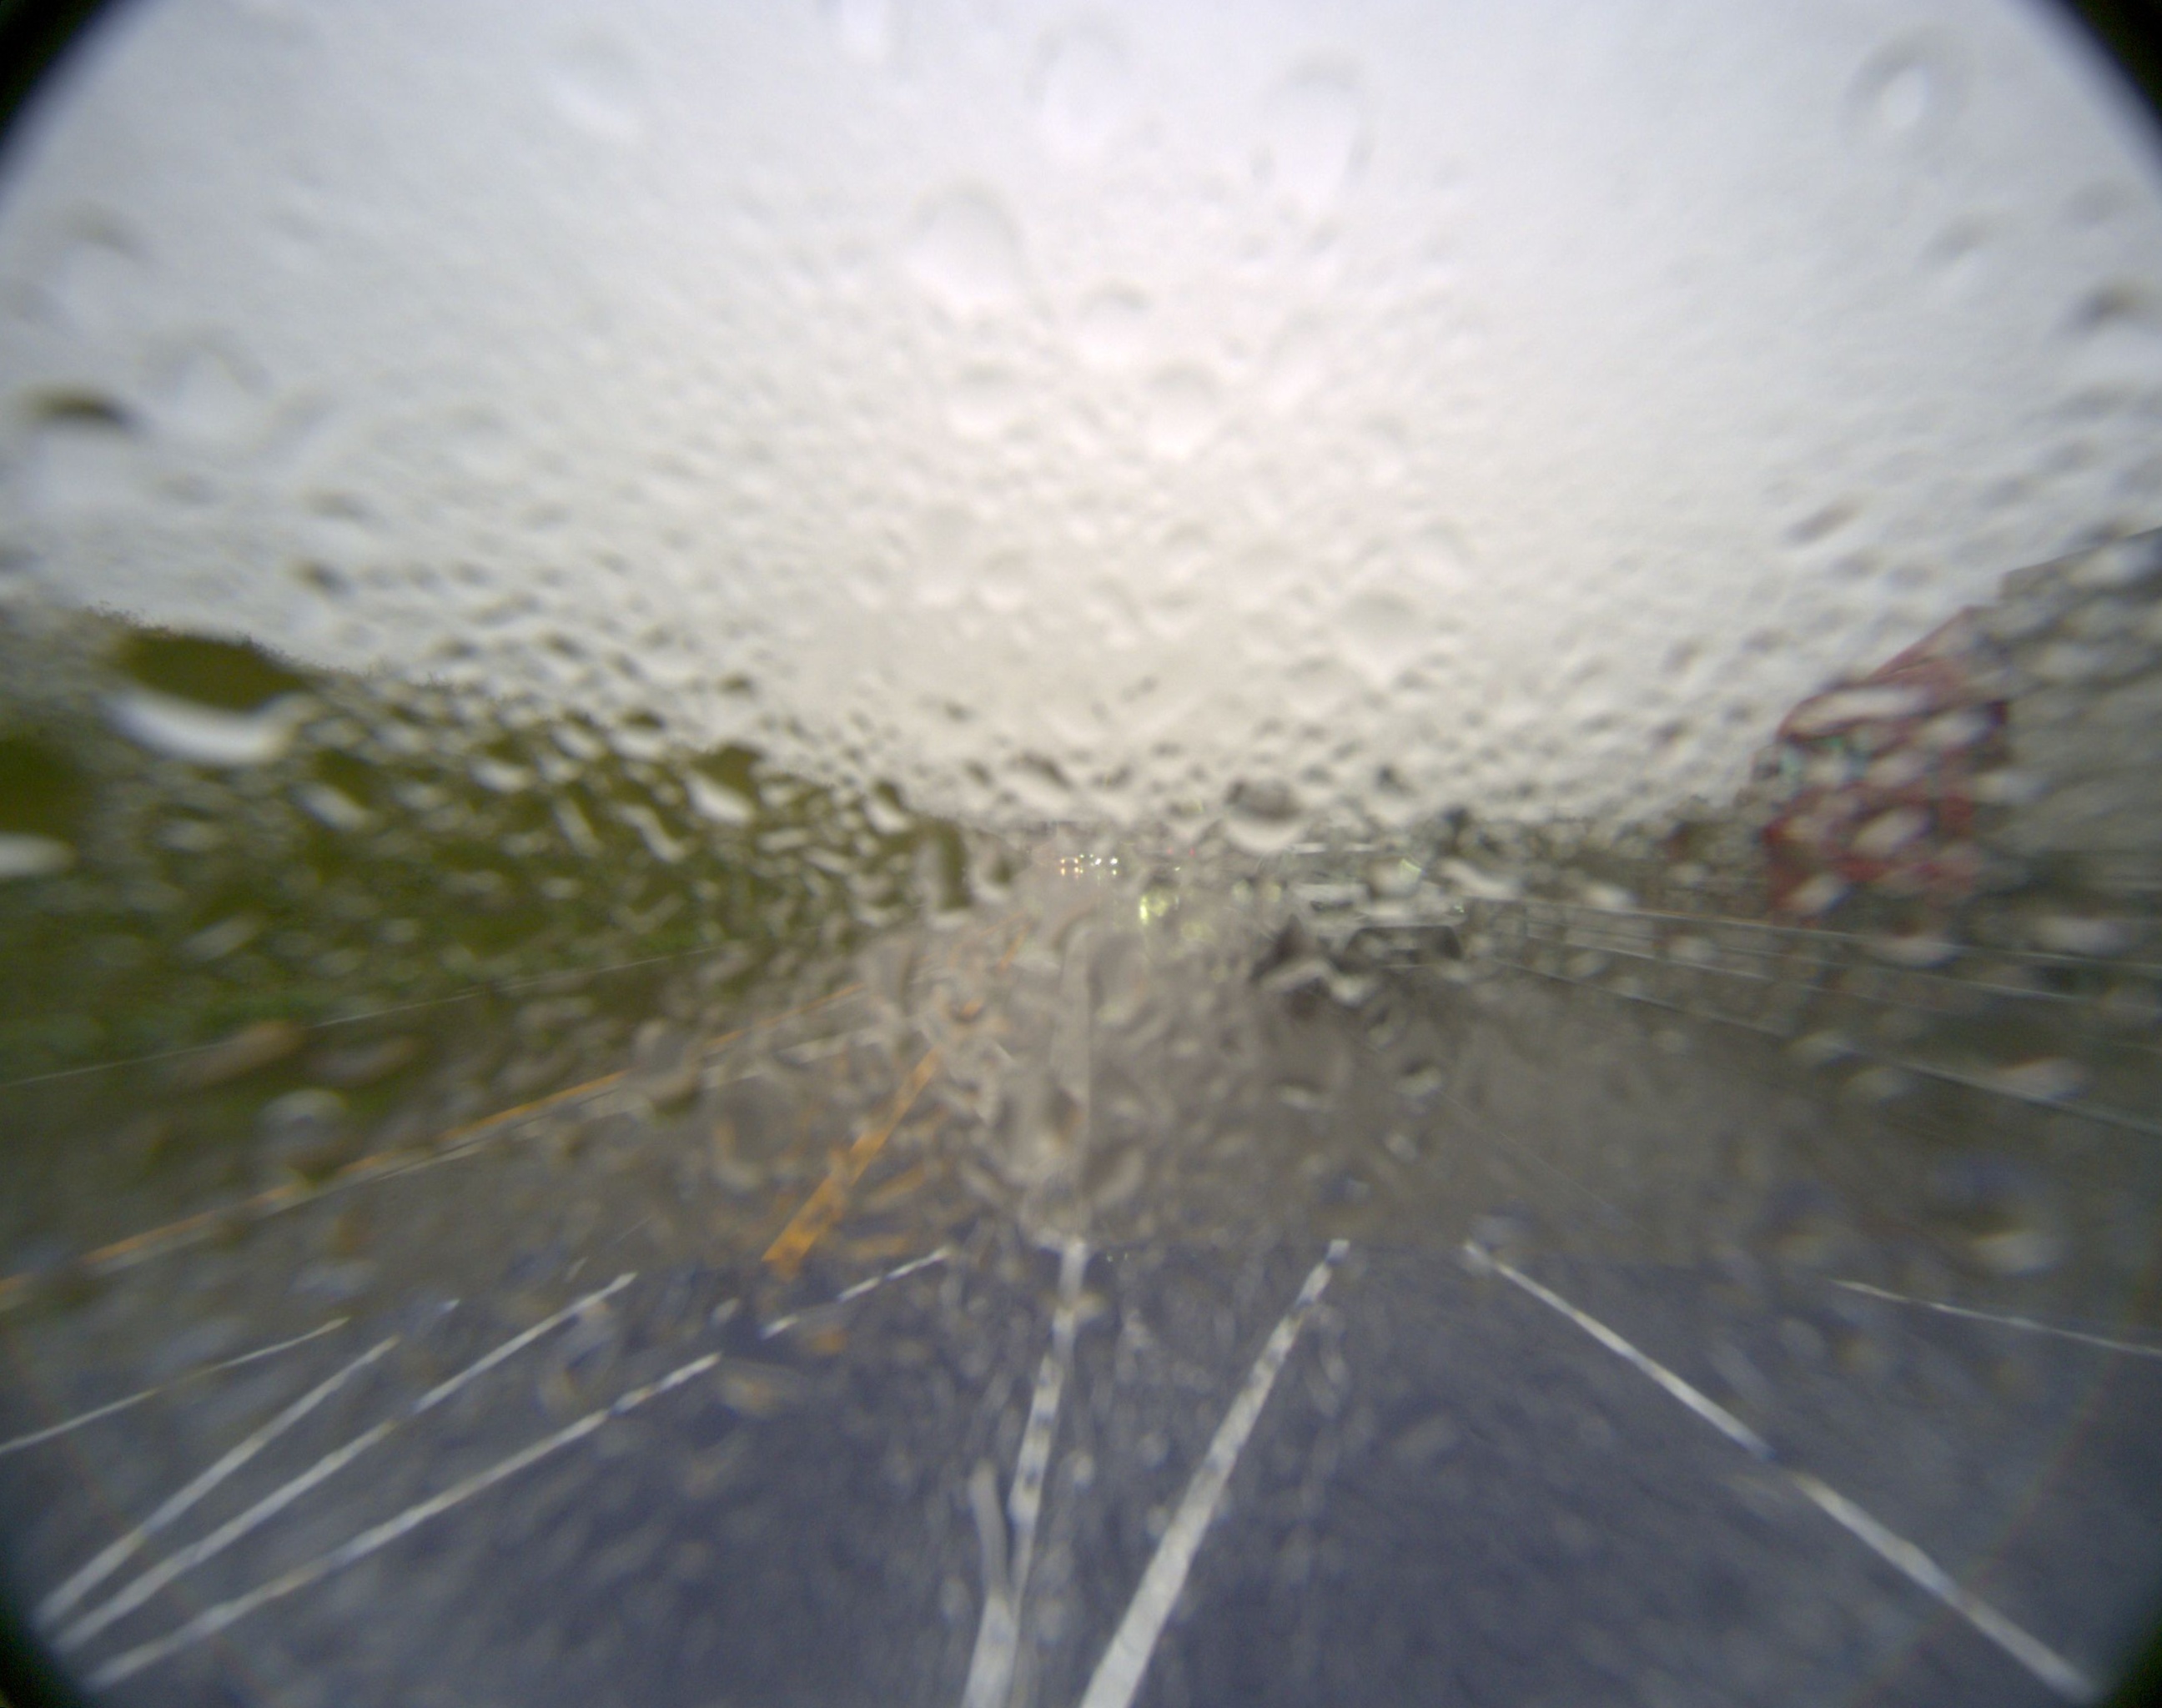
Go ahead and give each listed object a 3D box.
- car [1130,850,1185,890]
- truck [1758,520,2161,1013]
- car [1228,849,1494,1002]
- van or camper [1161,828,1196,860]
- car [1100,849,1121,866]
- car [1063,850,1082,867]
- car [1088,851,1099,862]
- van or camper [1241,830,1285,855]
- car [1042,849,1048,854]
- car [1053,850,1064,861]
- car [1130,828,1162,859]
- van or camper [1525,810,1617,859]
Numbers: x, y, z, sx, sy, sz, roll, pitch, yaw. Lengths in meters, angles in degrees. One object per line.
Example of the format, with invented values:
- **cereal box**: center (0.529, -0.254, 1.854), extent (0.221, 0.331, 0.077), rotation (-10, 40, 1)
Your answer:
- **car**: center (3.337, 0.640, 34.043), extent (2.069, 1.618, 5.196), rotation (-1, 0, 2)
- **truck**: center (10.171, -0.754, 6.306), extent (2.649, 4.025, 7.284), rotation (-2, 1, 1)
- **car**: center (3.347, 0.723, 10.284), extent (1.932, 1.542, 5.007), rotation (-1, 1, 2)
- **van or camper**: center (9.513, -0.957, 74.667), extent (2.491, 2.902, 6.222), rotation (-2, 1, 0)
- **car**: center (2.638, 0.312, 69.786), extent (1.792, 1.480, 4.000), rotation (-2, 1, 1)
- **car**: center (-0.900, 0.439, 82.610), extent (1.881, 1.772, 4.000), rotation (0, 1, 1)
- **car**: center (1.769, 0.330, 112.184), extent (1.589, 1.528, 3.831), rotation (0, 1, 0)
- **van or camper**: center (26.408, -1.629, 110.254), extent (5.421, 3.325, 3.377), rotation (-2, 1, -2)
- **car**: center (-12.201, -0.839, 257.086), extent (1.673, 1.804, 4.000), rotation (0, 1, 1)
- **car**: center (-4.015, 0.250, 133.943), extent (1.674, 1.804, 3.998), rotation (0, 1, -4)
- **car**: center (8.550, -1.345, 100.753), extent (3.305, 3.718, 9.399), rotation (-2, 1, 0)
- **van or camper**: center (47.219, -1.809, 73.624), extent (3.375, 4.299, 8.505), rotation (-2, 1, 0)
